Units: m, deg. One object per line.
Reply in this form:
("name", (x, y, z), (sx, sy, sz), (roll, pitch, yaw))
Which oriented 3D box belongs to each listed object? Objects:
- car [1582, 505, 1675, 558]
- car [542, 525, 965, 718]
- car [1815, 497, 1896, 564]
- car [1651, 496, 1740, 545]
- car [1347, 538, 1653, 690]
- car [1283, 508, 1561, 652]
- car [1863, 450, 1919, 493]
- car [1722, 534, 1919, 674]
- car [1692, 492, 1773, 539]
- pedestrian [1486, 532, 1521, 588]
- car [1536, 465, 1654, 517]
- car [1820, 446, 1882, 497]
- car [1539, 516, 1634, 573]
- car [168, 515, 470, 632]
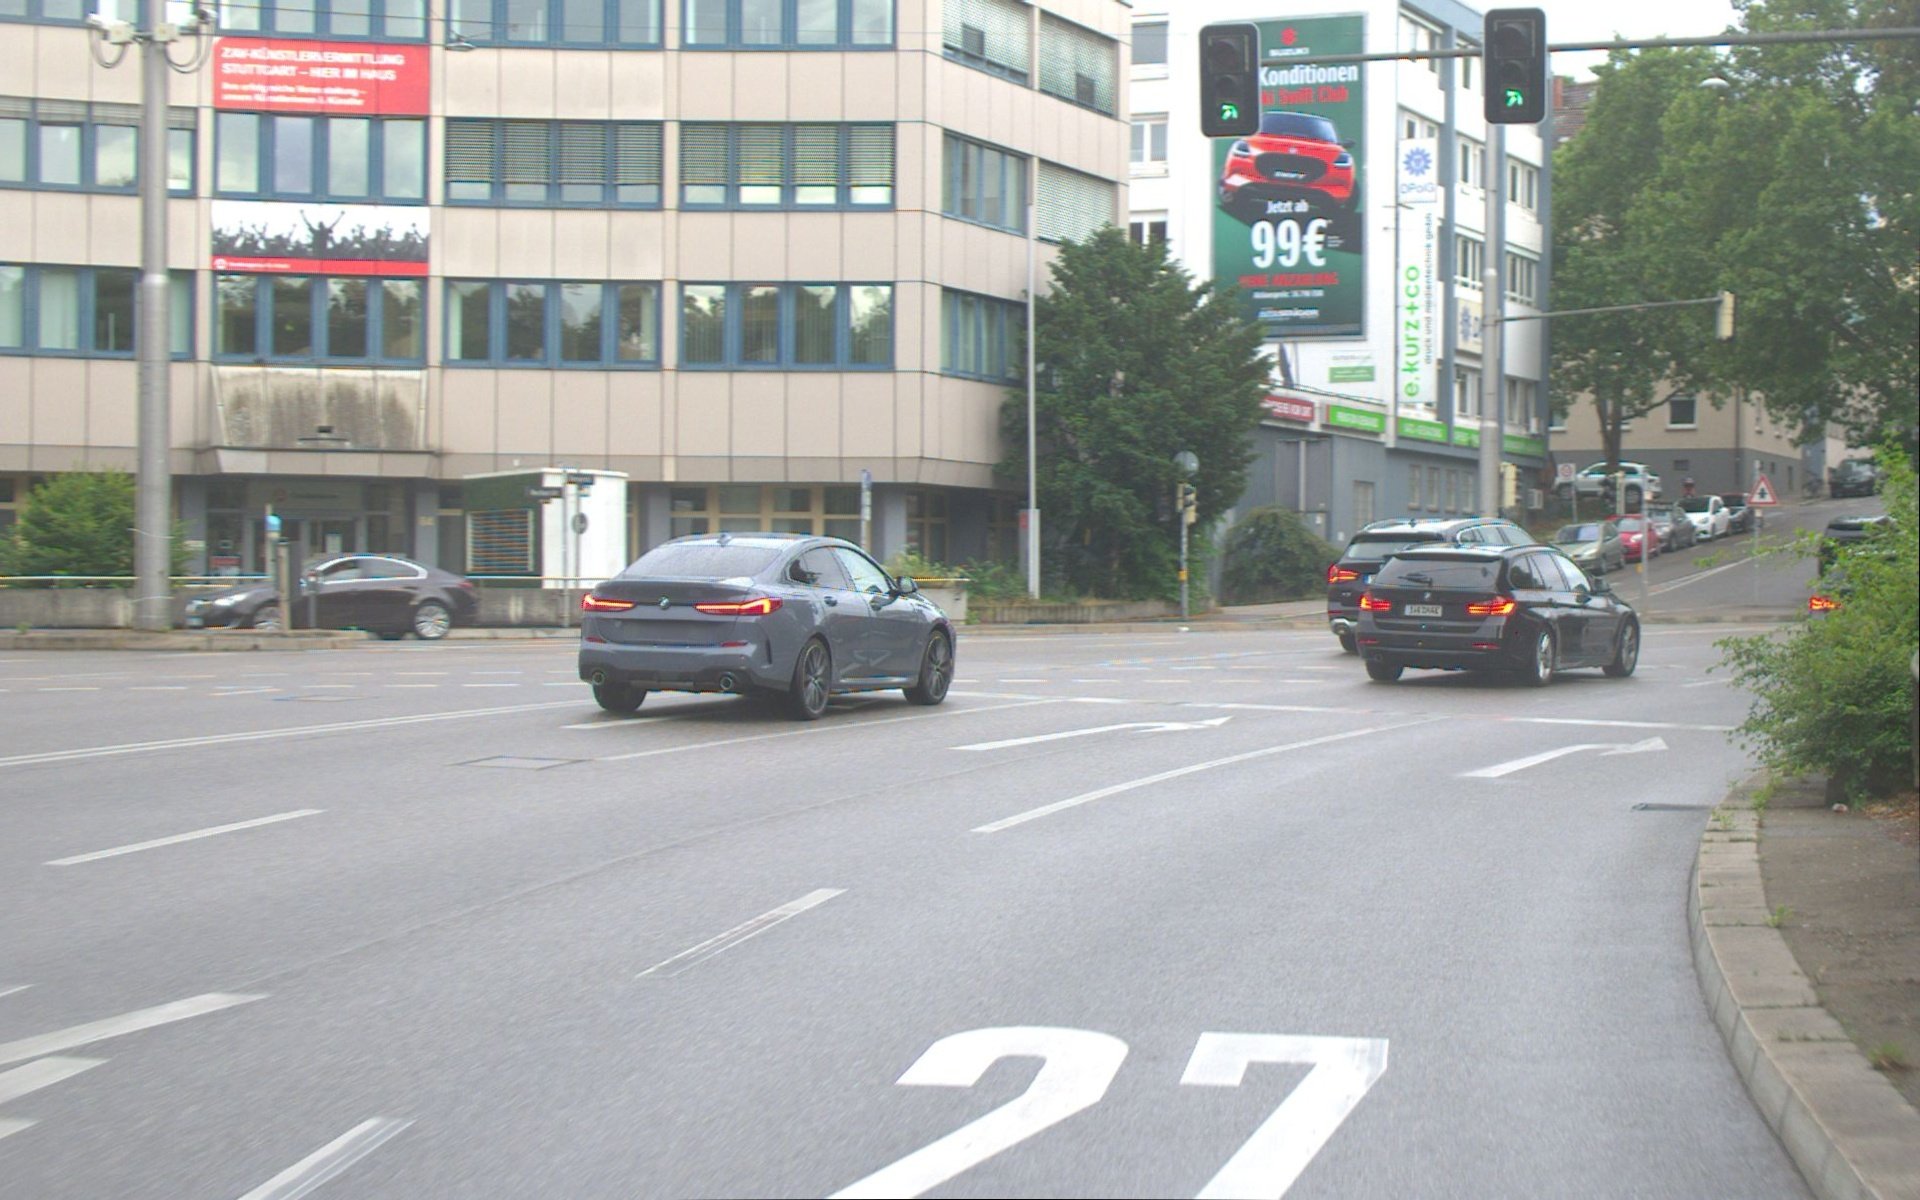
("car", (21.385, -2.206, 109.857), (1.835, 1.426, 4.065), (0, 4, 27))
("car", (-1.559, 0.169, 27.745), (1.792, 1.422, 4.380), (0, 0, 20))
("car", (26.045, -2.044, 99.923), (1.932, 1.861, 3.997), (2, 2, 19))
("car", (25.326, -2.748, 118.252), (1.836, 1.426, 4.064), (0, 4, 29))
("car", (5.617, 0.096, 35.313), (1.794, 1.421, 4.607), (2, 1, 26))
("car", (5.750, -0.222, 42.429), (1.903, 1.688, 3.992), (0, 0, 33))
("car", (42.956, -5.929, 158.528), (1.996, 1.836, 3.996), (0, 4, 23))
("car", (9.558, 0.051, 37.201), (1.960, 1.422, 4.120), (0, 0, 21))
("car", (27.535, -3.011, 122.515), (1.835, 1.426, 4.065), (0, 4, 27))
("pedestrian", (16.688, -1.223, 105.478), (0.840, 1.712, 0.980), (0, 0, 24))
("car", (25.706, -4.404, 139.157), (4.421, 1.999, 1.998), (0, 0, 20))
("car", (37.804, -5.429, 145.783), (1.996, 2.007, 3.995), (0, 0, 23))
("car", (19.151, -1.709, 104.944), (1.835, 1.458, 4.172), (-1, 4, 25))
("car", (-10.435, -0.405, 55.991), (4.425, 1.837, 2.000), (0, 0, -30))
